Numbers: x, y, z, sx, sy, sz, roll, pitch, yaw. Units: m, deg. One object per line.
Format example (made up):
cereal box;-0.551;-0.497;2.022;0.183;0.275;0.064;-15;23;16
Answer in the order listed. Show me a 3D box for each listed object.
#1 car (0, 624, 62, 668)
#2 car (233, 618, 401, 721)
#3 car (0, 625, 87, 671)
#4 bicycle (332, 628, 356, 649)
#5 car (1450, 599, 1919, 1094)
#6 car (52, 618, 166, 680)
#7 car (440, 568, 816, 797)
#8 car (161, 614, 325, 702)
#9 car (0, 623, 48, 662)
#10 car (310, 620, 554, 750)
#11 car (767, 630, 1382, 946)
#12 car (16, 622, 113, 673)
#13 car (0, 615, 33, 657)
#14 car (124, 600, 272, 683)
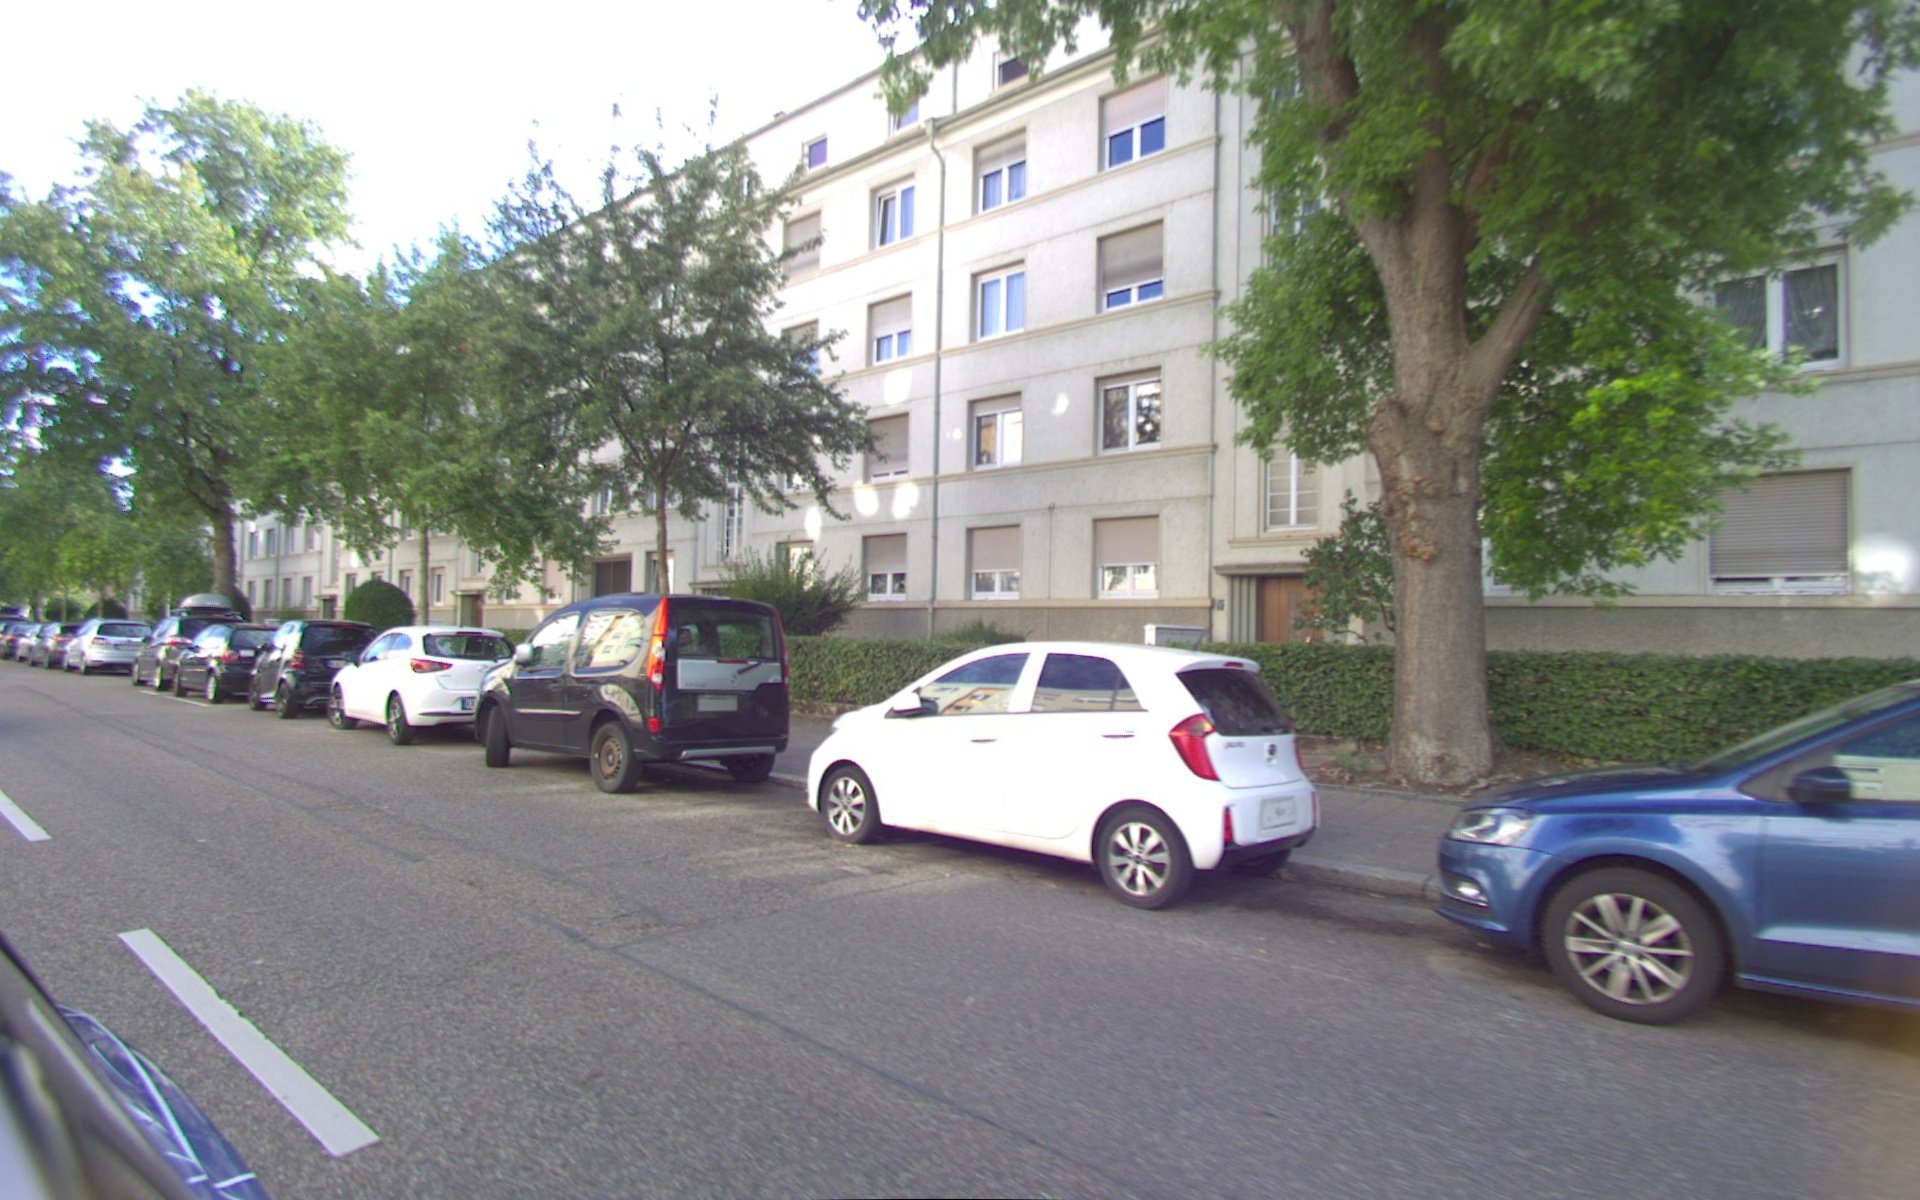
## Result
car;-36.059;1.746;39.035;4.453;1.492;1.666;-1;-6;44
car;-10.678;1.126;16.752;3.016;1.532;1.536;-1;-5;43
car;-31.893;1.648;35.181;3.961;1.429;1.584;-1;-6;40
bicycle;-30.495;1.902;50.119;1.540;1.064;0.536;-1;-2;41
car;4.103;0.875;3.774;3.799;1.632;1.781;-1;-5;40
car;-24.510;1.397;29.113;3.991;1.632;1.721;-1;-5;40
car;-3.542;0.772;10.427;4.189;1.897;1.705;-1;-5;41
car;-13.727;1.090;19.313;3.847;1.498;1.682;-1;-5;42
car;-39.640;1.756;42.333;4.118;1.492;1.667;-1;-6;42
car;-7.356;1.078;13.888;4.334;1.504;1.675;-2;-5;45
car;0.602;1.012;6.858;3.802;1.505;1.780;-1;-5;42
car;-28.388;1.495;32.052;4.009;1.479;1.598;-1;-6;39
car;-44.014;1.596;46.125;4.967;1.807;1.858;-1;-5;40
car;-17.313;0.942;22.915;4.481;1.681;1.780;-1;-5;42
